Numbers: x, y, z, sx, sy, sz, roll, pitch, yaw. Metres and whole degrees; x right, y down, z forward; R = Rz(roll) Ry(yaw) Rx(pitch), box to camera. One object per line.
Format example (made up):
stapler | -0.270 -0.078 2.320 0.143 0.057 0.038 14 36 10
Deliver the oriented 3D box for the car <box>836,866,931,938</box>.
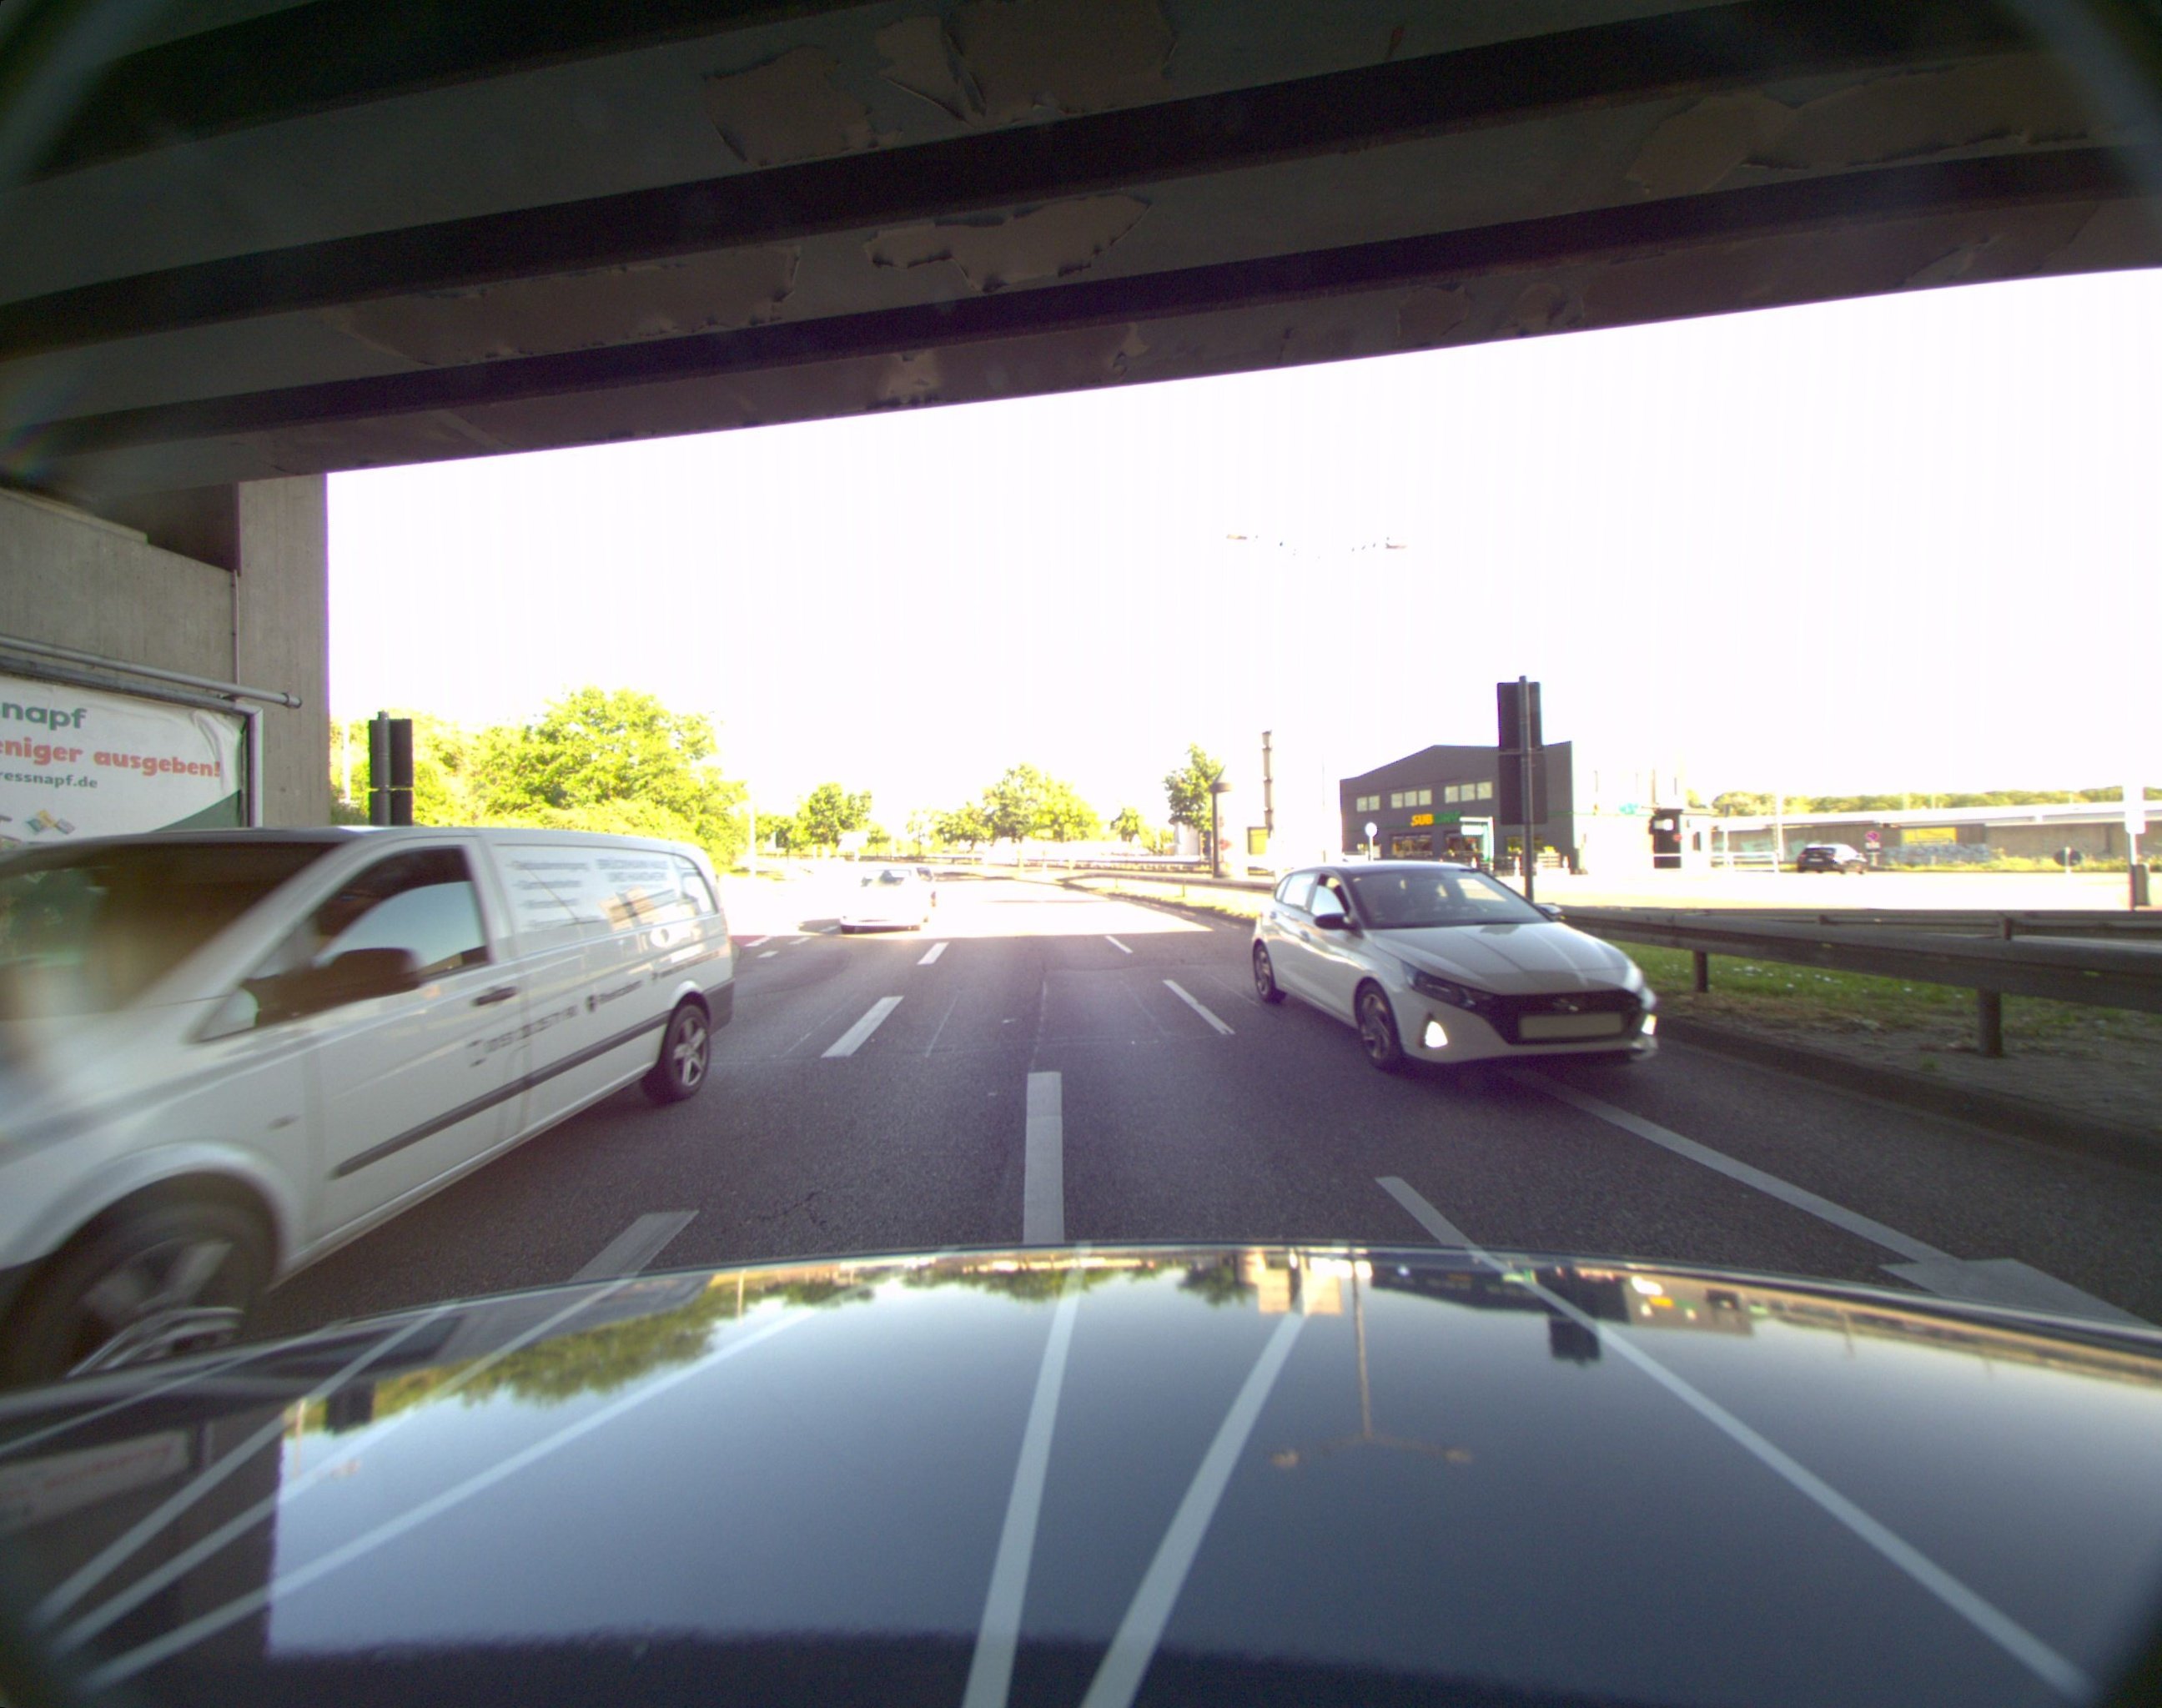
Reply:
car | -5.066 1.164 20.075 2.000 1.542 4.417 -2 0 -9

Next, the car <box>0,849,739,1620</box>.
car | -3.626 0.937 3.648 1.903 1.825 4.834 -2 0 -3

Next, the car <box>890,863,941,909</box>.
car | -6.629 1.234 30.798 1.780 1.591 4.101 -3 1 -10

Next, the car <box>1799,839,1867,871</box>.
car | 38.458 0.060 38.827 4.007 1.434 1.878 -3 1 -37

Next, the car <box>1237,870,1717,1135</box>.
car | 2.728 0.897 6.354 1.737 1.395 3.870 -2 0 -4
